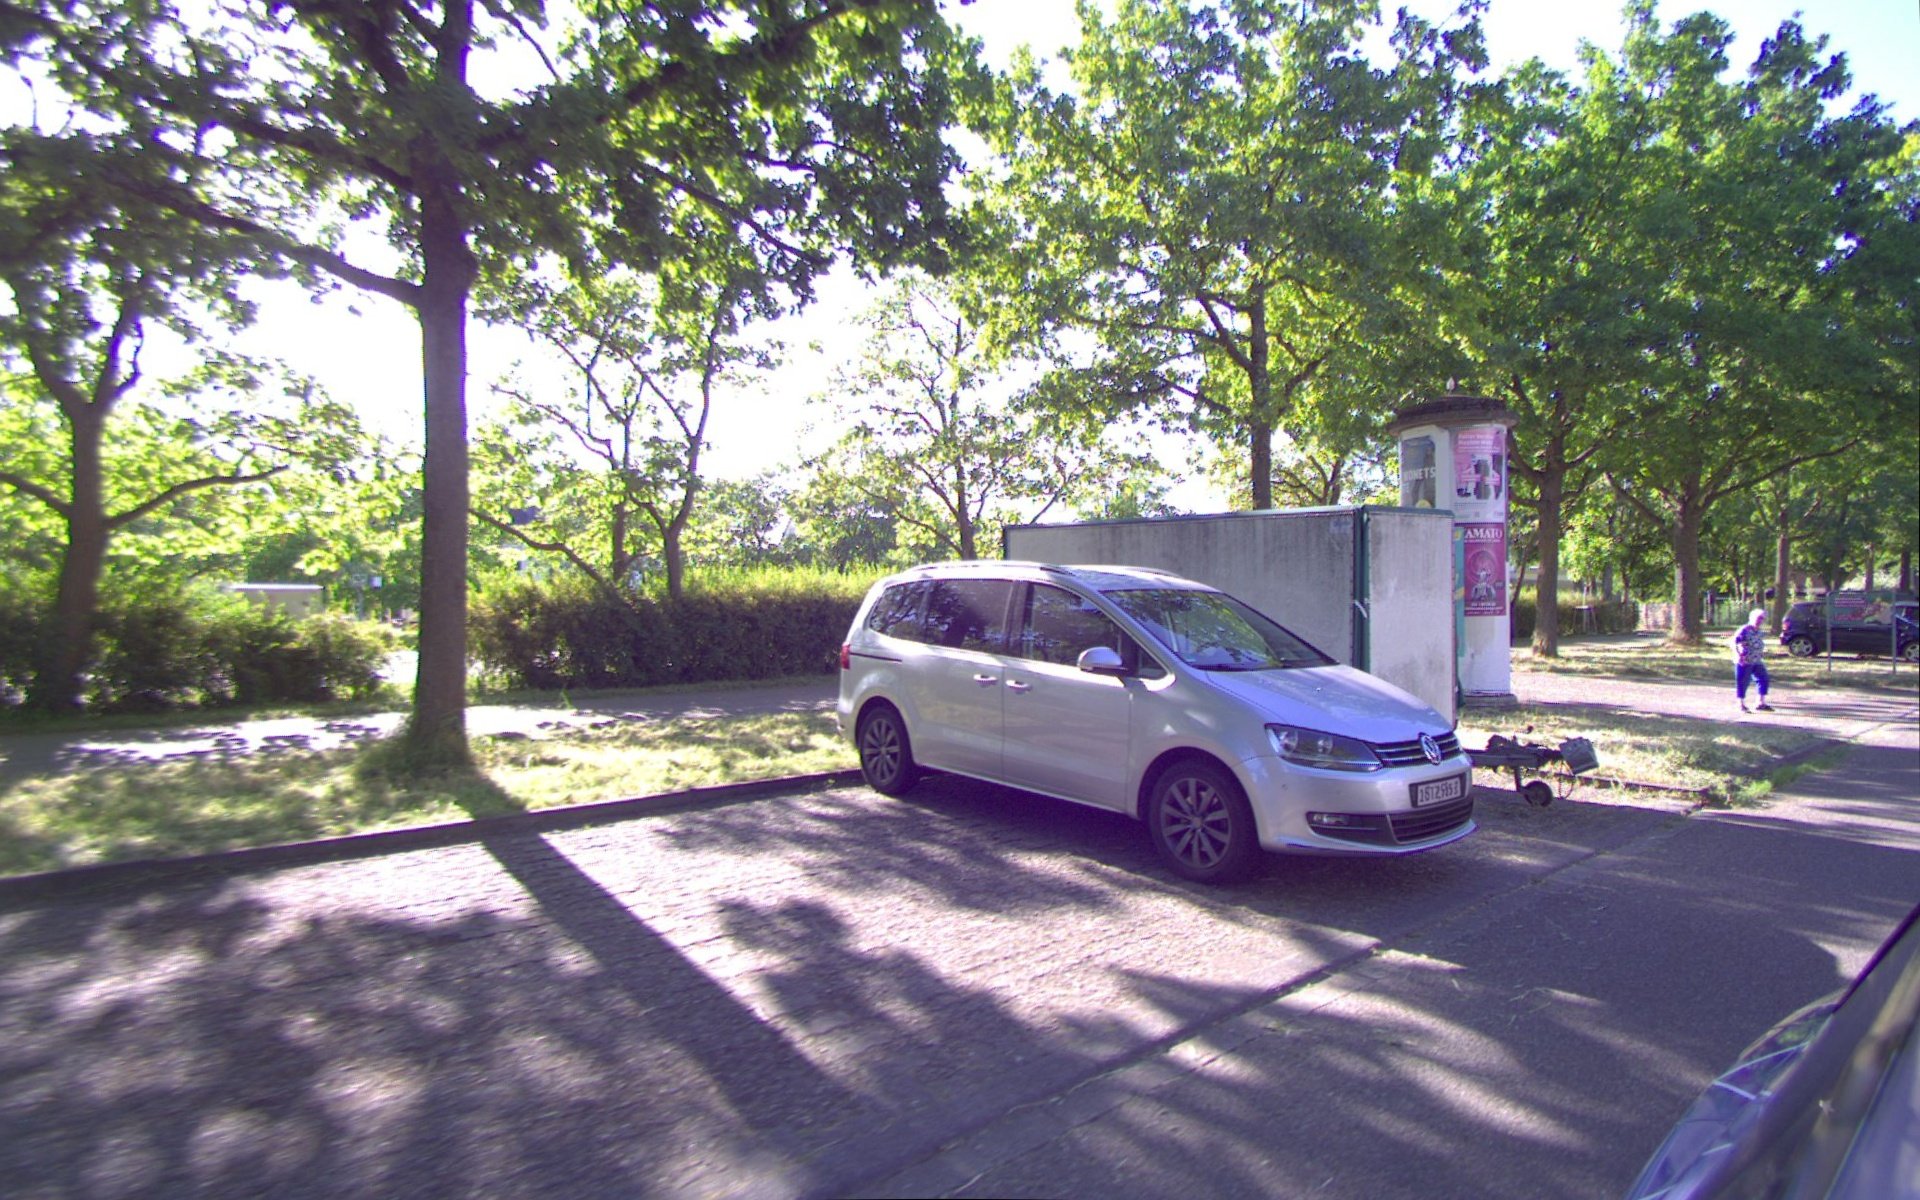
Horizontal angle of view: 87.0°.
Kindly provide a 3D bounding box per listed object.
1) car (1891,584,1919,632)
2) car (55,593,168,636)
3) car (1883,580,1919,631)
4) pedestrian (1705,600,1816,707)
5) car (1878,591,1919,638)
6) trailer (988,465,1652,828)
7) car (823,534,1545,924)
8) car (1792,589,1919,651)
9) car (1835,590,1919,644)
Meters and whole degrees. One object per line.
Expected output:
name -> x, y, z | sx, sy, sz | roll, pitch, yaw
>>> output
car -> 38.432, 0.327, 38.731 | 1.769, 1.860, 4.014 | 0, 1, -42
car -> -56.689, 0.955, 67.711 | 5.355, 2.644, 2.351 | -1, -1, -9
car -> 40.118, 0.238, 40.285 | 1.910, 2.057, 4.812 | 0, 0, -40
pedestrian -> 11.848, 0.761, 15.007 | 0.868, 1.519, 0.943 | 1, 0, -1
car -> 32.886, 0.489, 33.483 | 1.635, 1.551, 3.530 | 0, 1, -38
trailer -> 2.738, 0.230, 9.347 | 1.655, 2.346, 5.790 | 0, 1, -38
car -> 1.114, 0.525, 6.959 | 1.952, 1.744, 4.653 | 0, 1, -39
car -> 25.347, 0.517, 27.792 | 1.825, 1.596, 3.590 | 0, 1, -41
car -> 29.164, 0.508, 30.781 | 1.754, 1.596, 3.592 | 0, 1, -38
